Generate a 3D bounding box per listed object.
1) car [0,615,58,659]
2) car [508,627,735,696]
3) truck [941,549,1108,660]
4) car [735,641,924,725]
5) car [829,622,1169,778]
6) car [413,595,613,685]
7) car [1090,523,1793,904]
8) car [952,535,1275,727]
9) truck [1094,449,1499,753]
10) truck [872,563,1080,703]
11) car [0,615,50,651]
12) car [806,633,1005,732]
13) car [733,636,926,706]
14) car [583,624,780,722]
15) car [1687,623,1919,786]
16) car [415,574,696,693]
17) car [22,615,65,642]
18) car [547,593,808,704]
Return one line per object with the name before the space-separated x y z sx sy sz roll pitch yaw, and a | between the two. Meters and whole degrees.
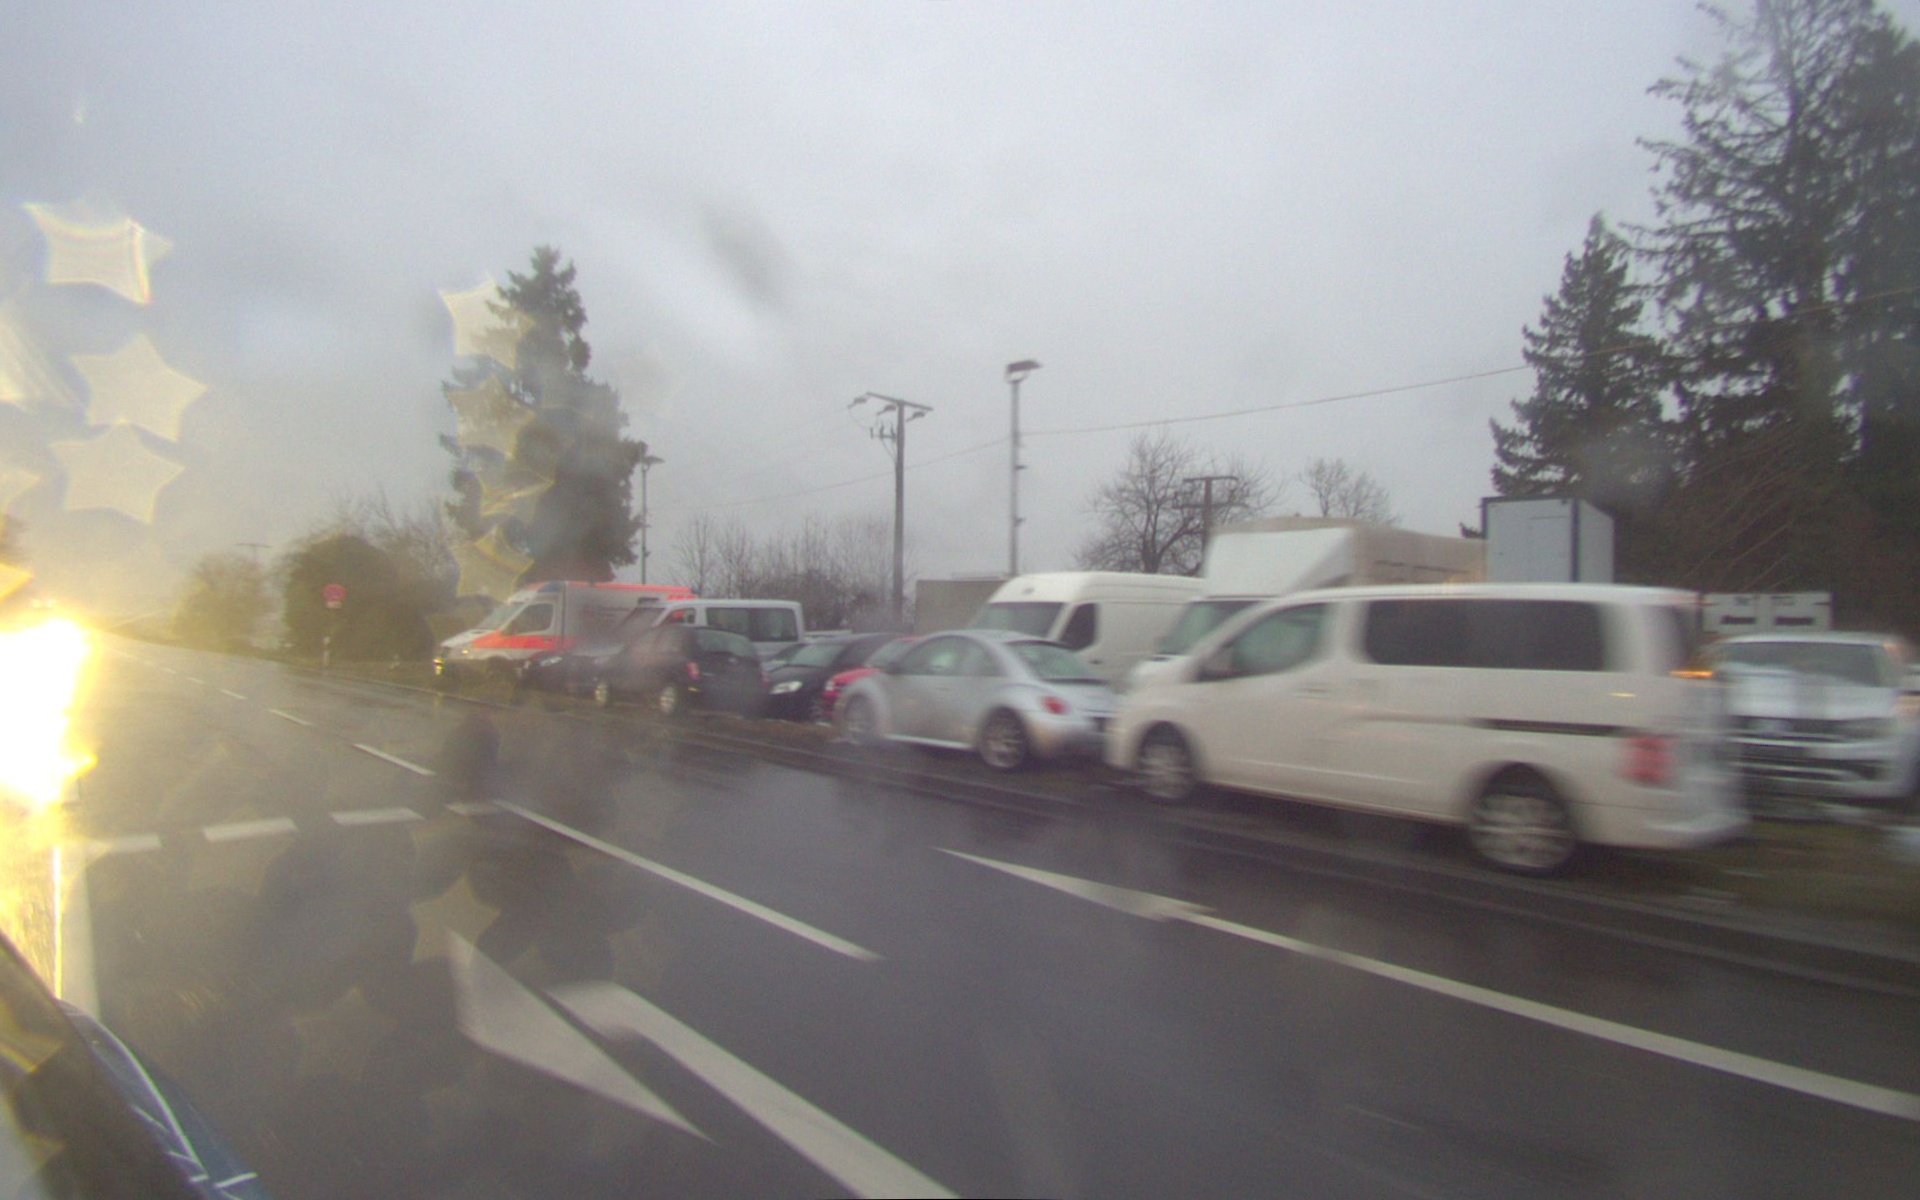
car | -34.504 1.327 36.954 4.000 1.504 1.988 -1 -2 43
car | -7.918 1.462 24.000 4.692 1.494 1.957 4 -4 -42
truck | 2.974 0.173 43.477 3.001 4.293 8.606 -1 0 36
car | -2.349 1.464 18.659 1.481 1.338 3.266 -1 -2 43
car | 0.281 0.981 11.291 1.629 1.423 3.846 2 -3 -40
car | -12.321 1.148 28.105 4.611 2.290 1.989 4 -4 -43
car | 3.275 0.648 7.712 1.812 2.029 4.491 2 -2 -40
car | 2.773 0.540 16.867 5.961 2.659 2.197 3 -3 -45
truck | 4.861 0.108 13.732 6.778 3.166 2.336 2 -2 -44
truck | 0.325 0.927 27.877 5.853 3.481 2.008 -1 -5 44
car | -44.558 1.540 48.129 1.862 1.640 4.005 1 -1 -42
car | -0.860 1.328 17.163 1.499 1.503 3.191 -1 -3 44
car | -2.801 1.536 22.333 1.842 1.394 3.942 -3 -4 43
car | -4.662 1.163 16.636 1.630 1.431 3.747 3 -4 -41
car | 9.064 0.941 10.580 1.815 1.388 4.003 -1 -2 44
car | -9.931 0.908 25.286 6.082 2.652 2.178 4 -4 -43
car | -57.890 1.773 63.924 1.863 1.640 4.003 1 -2 -44
car | -6.080 1.098 22.233 5.084 2.167 2.061 4 -4 -42
